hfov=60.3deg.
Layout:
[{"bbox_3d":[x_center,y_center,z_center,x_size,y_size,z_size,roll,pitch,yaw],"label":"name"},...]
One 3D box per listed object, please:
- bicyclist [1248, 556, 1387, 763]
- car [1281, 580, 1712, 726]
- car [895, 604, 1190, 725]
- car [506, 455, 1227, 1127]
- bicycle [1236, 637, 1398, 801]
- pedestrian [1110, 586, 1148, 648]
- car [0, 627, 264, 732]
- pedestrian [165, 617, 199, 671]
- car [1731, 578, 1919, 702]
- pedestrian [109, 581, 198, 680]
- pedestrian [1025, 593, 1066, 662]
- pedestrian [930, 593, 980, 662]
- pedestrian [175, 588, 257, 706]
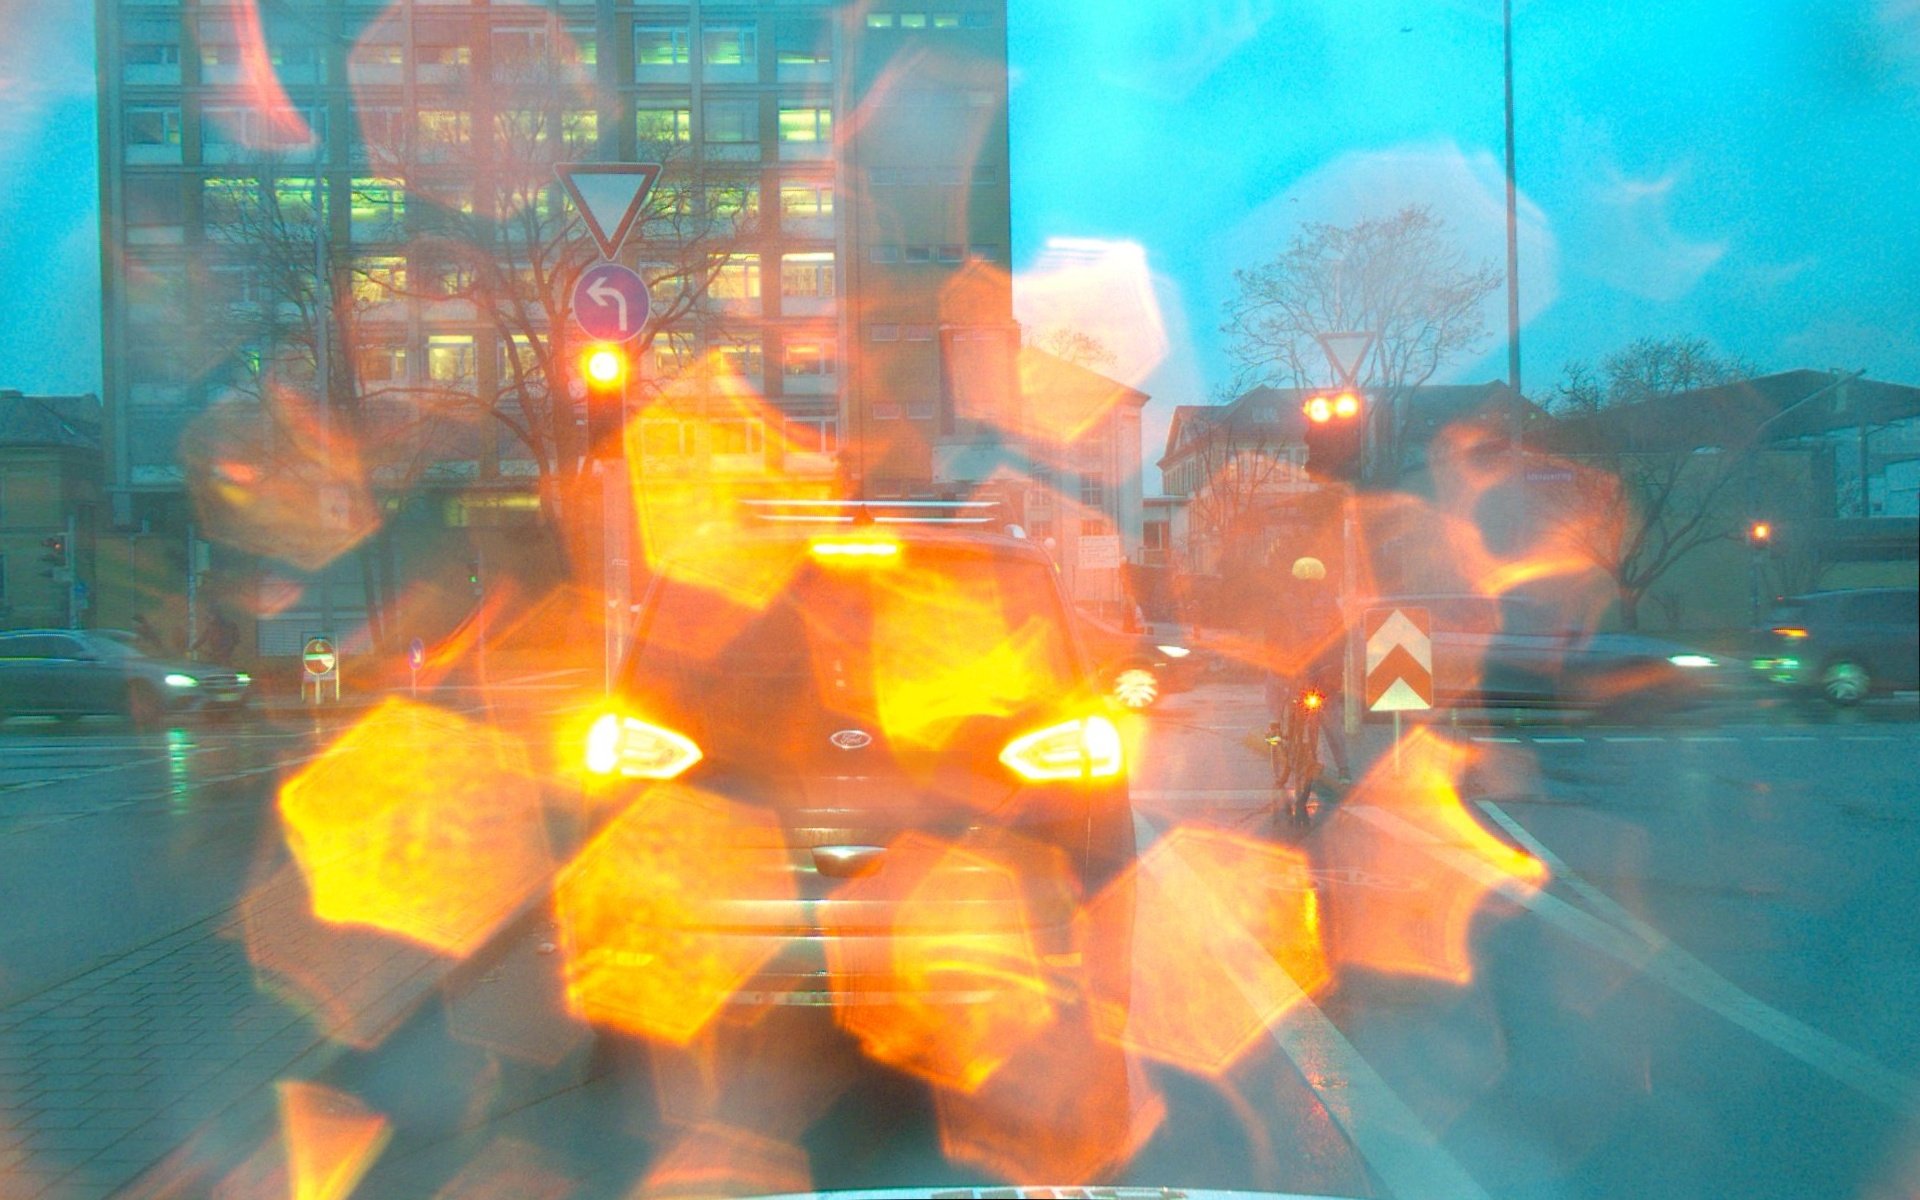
[{"bbox_3d":[2.664,0.430,12.434,0.767,1.478,1.133,1,0,-1],"label":"bicyclist"},{"bbox_3d":[6.023,0.609,19.095,4.480,1.503,1.813,-2,-1,10],"label":"car"},{"bbox_3d":[1.180,0.870,22.799,3.871,1.503,1.812,-2,-1,6],"label":"car"},{"bbox_3d":[-0.280,0.538,6.552,1.953,1.821,3.999,1,0,-1],"label":"car"},{"bbox_3d":[2.664,0.854,12.547,0.767,1.094,1.956,1,0,-1],"label":"bicycle"},{"bbox_3d":[4.418,0.440,43.213,0.905,1.559,1.043,-2,0,4],"label":"pedestrian"},{"bbox_3d":[-13.481,1.242,25.988,4.557,1.503,1.812,-2,-1,16],"label":"car"},{"bbox_3d":[-24.547,1.377,52.195,0.743,1.656,0.558,-2,0,14],"label":"pedestrian"},{"bbox_3d":[12.514,0.466,21.144,4.480,1.503,1.813,-2,-1,11],"label":"car"},{"bbox_3d":[-16.029,0.601,32.886,0.981,1.874,1.139,-2,2,22],"label":"pedestrian"},{"bbox_3d":[2.335,0.743,45.161,0.975,1.831,0.920,-2,0,8],"label":"pedestrian"},{"bbox_3d":[-0.125,0.725,44.079,1.111,1.750,0.982,-2,0,10],"label":"pedestrian"},{"bbox_3d":[-13.131,0.817,29.212,0.908,2.013,0.960,-2,0,5],"label":"pedestrian"}]
